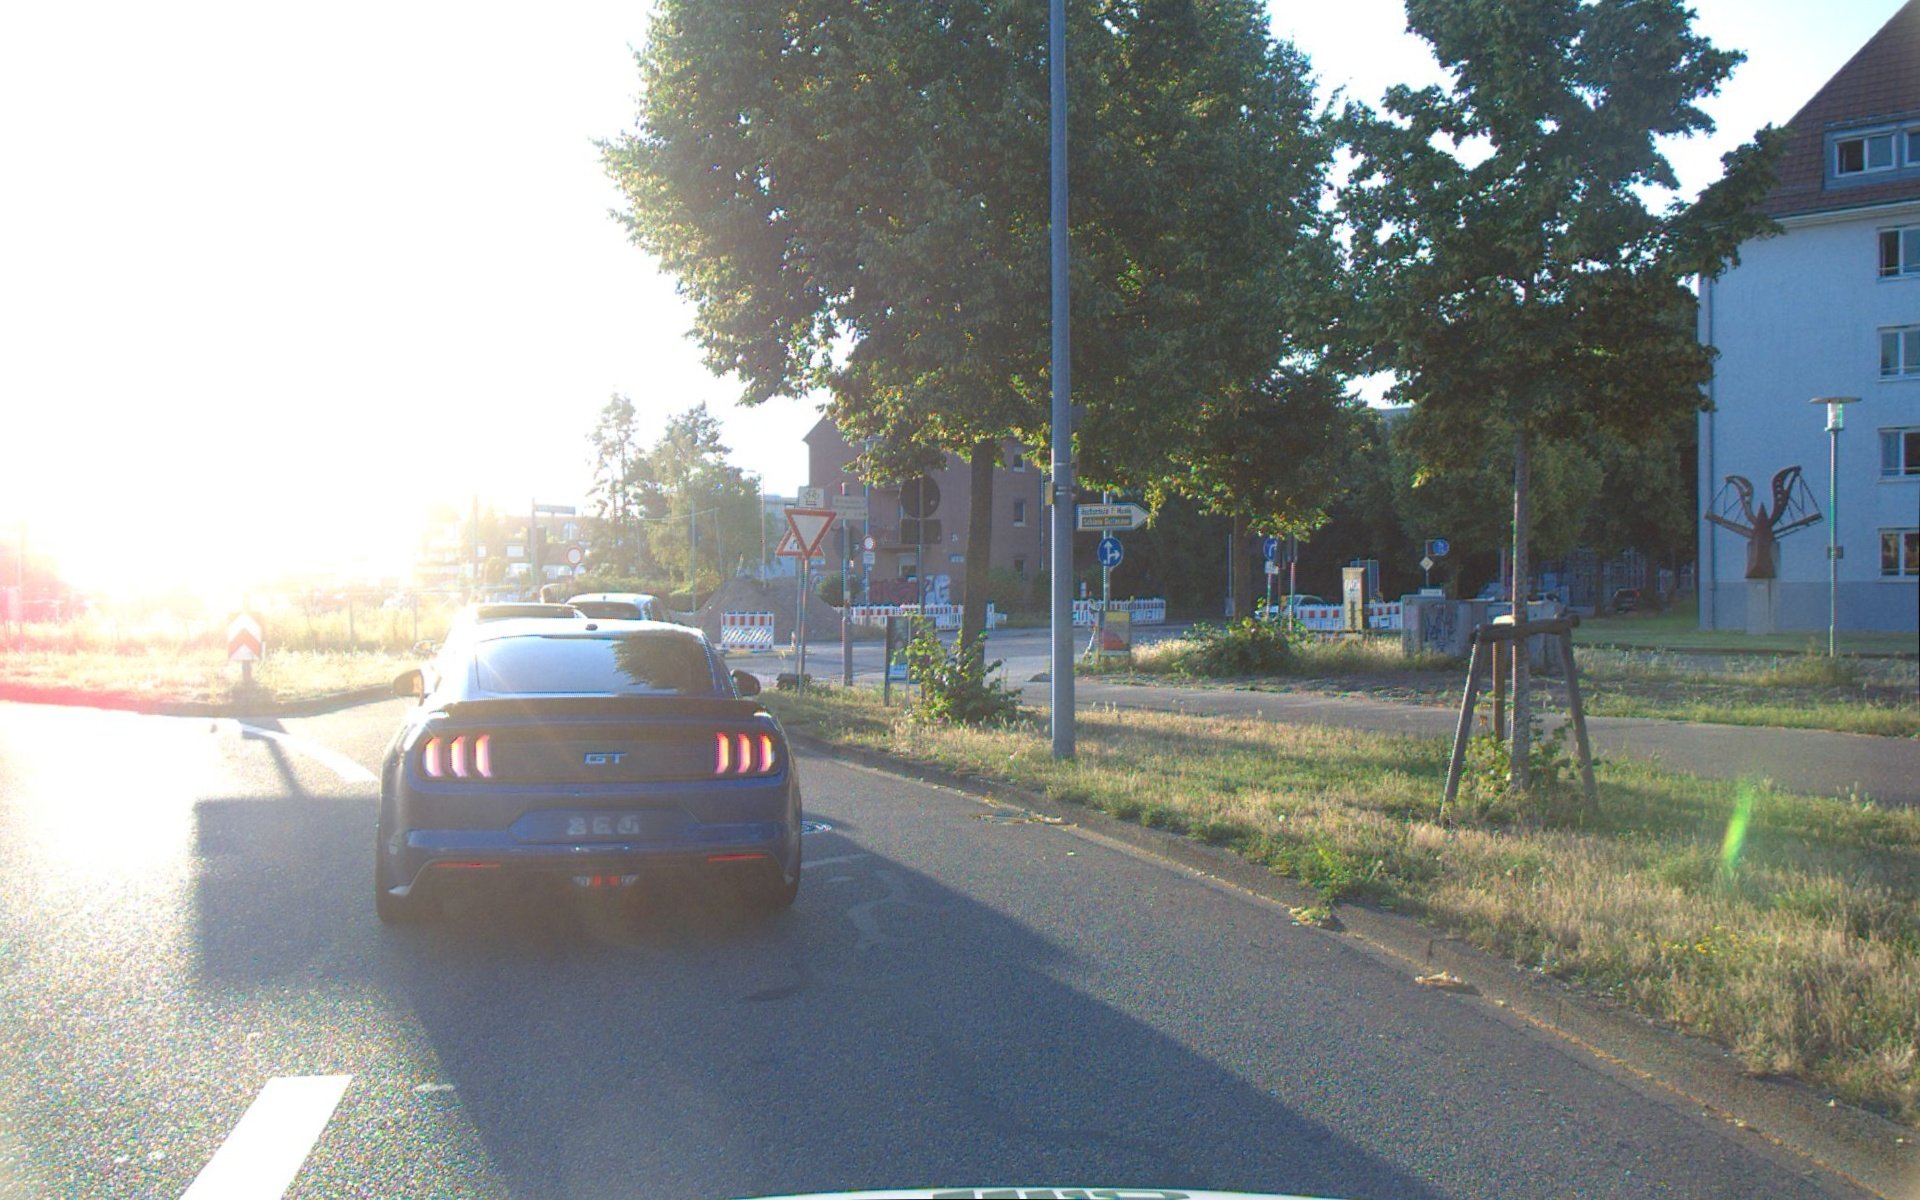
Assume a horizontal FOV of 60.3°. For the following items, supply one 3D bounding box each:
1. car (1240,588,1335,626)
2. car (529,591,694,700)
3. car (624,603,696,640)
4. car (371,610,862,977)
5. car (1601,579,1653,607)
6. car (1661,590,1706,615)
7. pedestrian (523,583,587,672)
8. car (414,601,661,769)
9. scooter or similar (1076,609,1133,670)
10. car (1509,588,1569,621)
[{"bbox_3d":[14.578,0.301,73.392,2.039,1.477,4.629,6,4,41],"label":"car"},{"bbox_3d":[-5.630,0.683,27.176,1.912,1.630,4.076,0,0,-1],"label":"car"},{"bbox_3d":[-14.538,1.036,80.013,1.978,1.736,3.949,0,0,-36],"label":"car"},{"bbox_3d":[-2.015,0.755,8.810,1.921,1.365,4.647,0,0,-17],"label":"car"},{"bbox_3d":[39.804,-0.412,98.687,1.919,1.630,4.060,1,0,37],"label":"car"},{"bbox_3d":[48.261,0.170,110.288,1.919,1.630,4.060,1,0,37],"label":"car"},{"bbox_3d":[-7.910,0.526,32.294,0.869,1.716,0.843,0,0,34],"label":"pedestrian"},{"bbox_3d":[-4.382,0.775,16.656,1.923,1.452,4.402,2,-1,-21],"label":"car"},{"bbox_3d":[3.028,0.826,34.626,1.101,1.260,0.441,0,0,-15],"label":"scooter or similar"},{"bbox_3d":[29.553,0.203,84.372,1.918,1.630,4.063,1,0,35],"label":"car"}]
